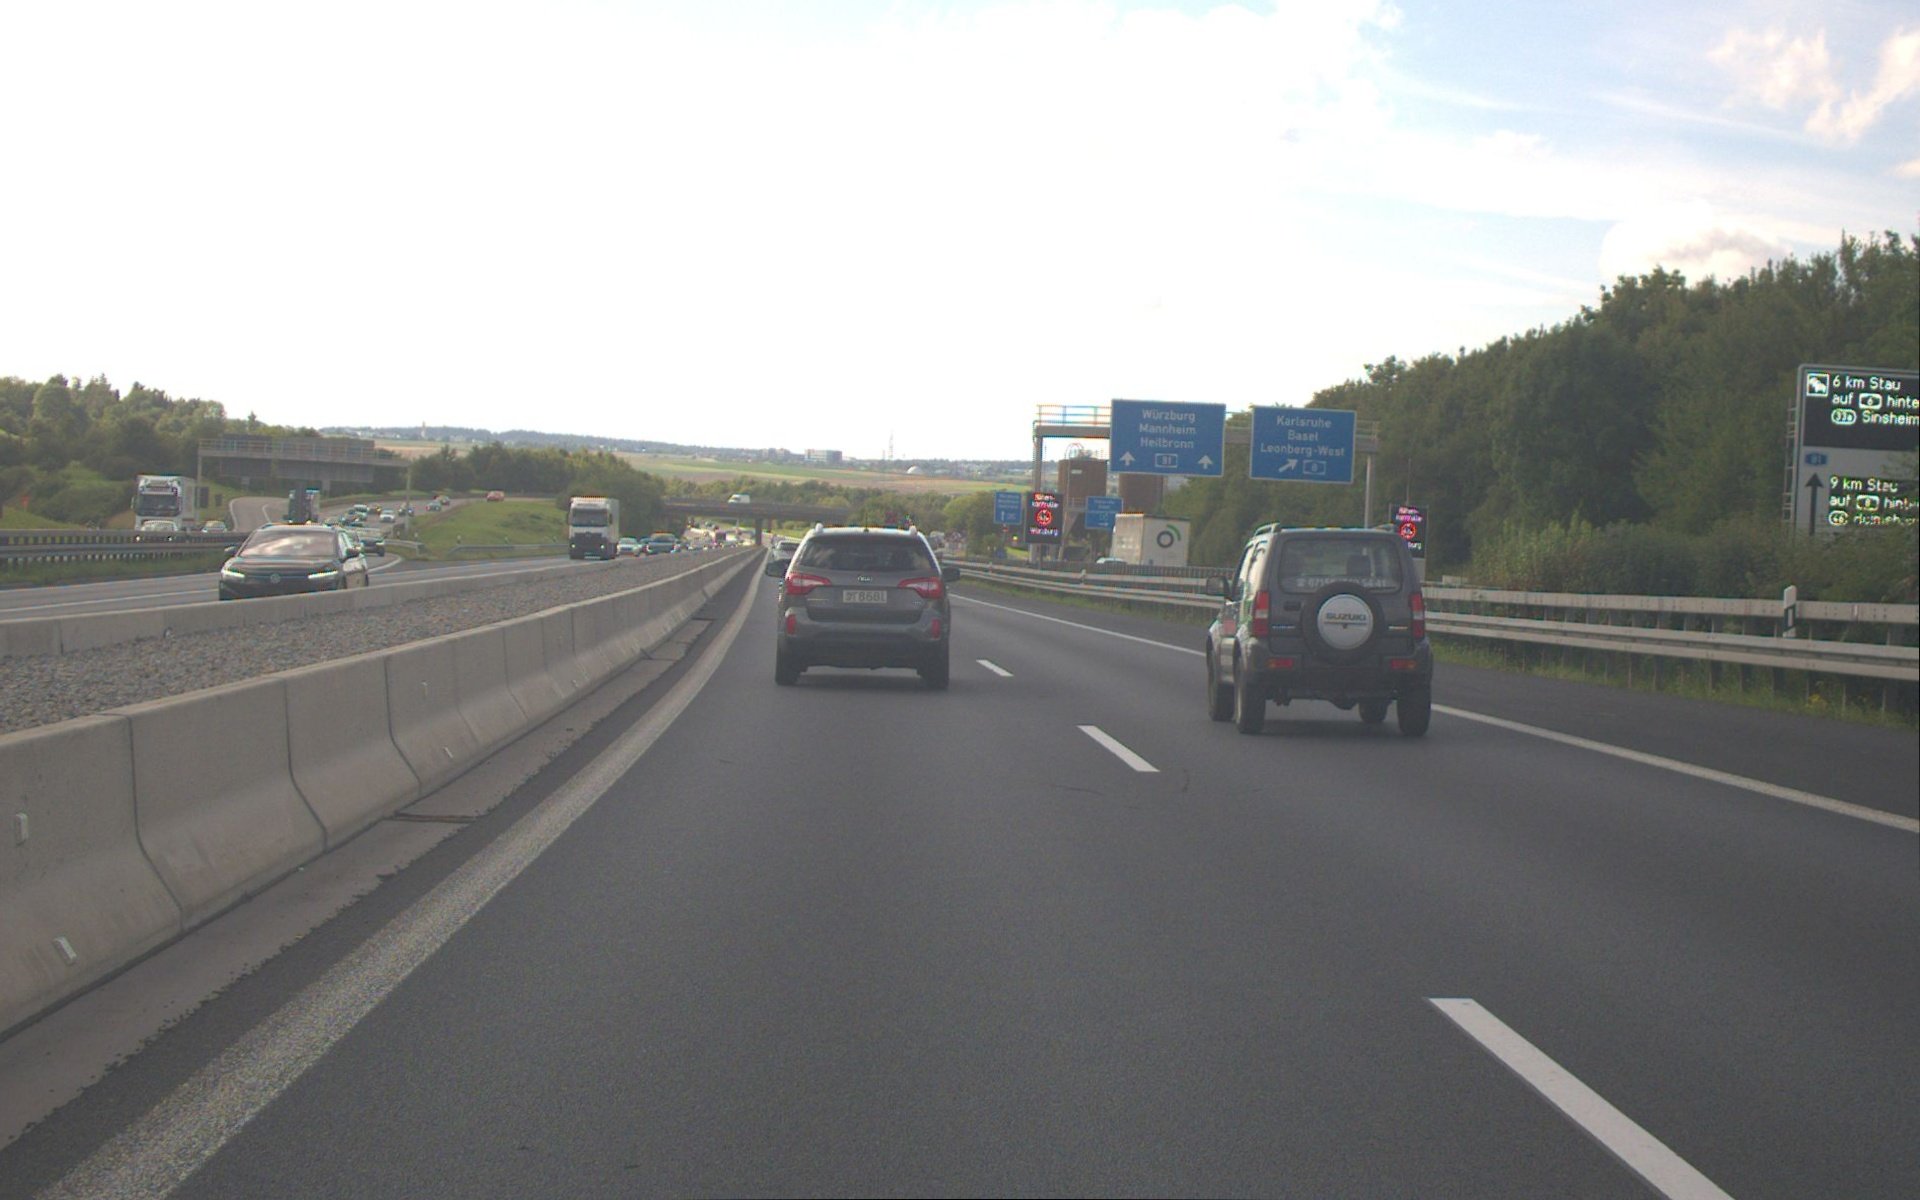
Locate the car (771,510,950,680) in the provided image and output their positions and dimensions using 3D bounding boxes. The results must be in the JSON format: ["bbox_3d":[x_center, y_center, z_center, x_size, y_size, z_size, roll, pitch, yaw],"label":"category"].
[{"bbox_3d":[-1.044,-0.051,38.131,1.817,1.730,5.187,1,0,0],"label":"car"}]

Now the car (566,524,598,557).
[{"bbox_3d":[-24.234,-3.821,220.456,1.993,2.023,4.274,1,1,-7],"label":"car"}]

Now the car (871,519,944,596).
[{"bbox_3d":[-1.488,-1.232,99.260,2.030,2.144,4.000,1,1,0],"label":"car"}]

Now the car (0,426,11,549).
[{"bbox_3d":[-33.110,-3.647,107.813,3.816,4.066,14.832,1,1,-5],"label":"car"}]

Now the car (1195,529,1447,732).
[{"bbox_3d":[3.023,0.210,29.491,1.587,1.591,4.096,1,1,-2],"label":"car"}]

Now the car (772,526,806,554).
[{"bbox_3d":[-10.939,-3.844,220.083,1.993,1.678,4.000,1,-1,-5],"label":"car"}]

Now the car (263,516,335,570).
[{"bbox_3d":[-22.622,-1.964,117.746,1.993,1.784,4.273,1,1,-5],"label":"car"}]

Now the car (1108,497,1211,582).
[{"bbox_3d":[10.877,-3.246,188.972,4.728,4.251,11.404,1,-1,-1],"label":"car"}]

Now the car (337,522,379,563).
[{"bbox_3d":[-27.221,-2.611,155.485,1.607,1.783,4.274,1,1,-7],"label":"car"}]

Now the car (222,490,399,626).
[{"bbox_3d":[-10.061,-0.663,53.545,1.993,2.007,4.273,1,1,-1],"label":"car"}]
